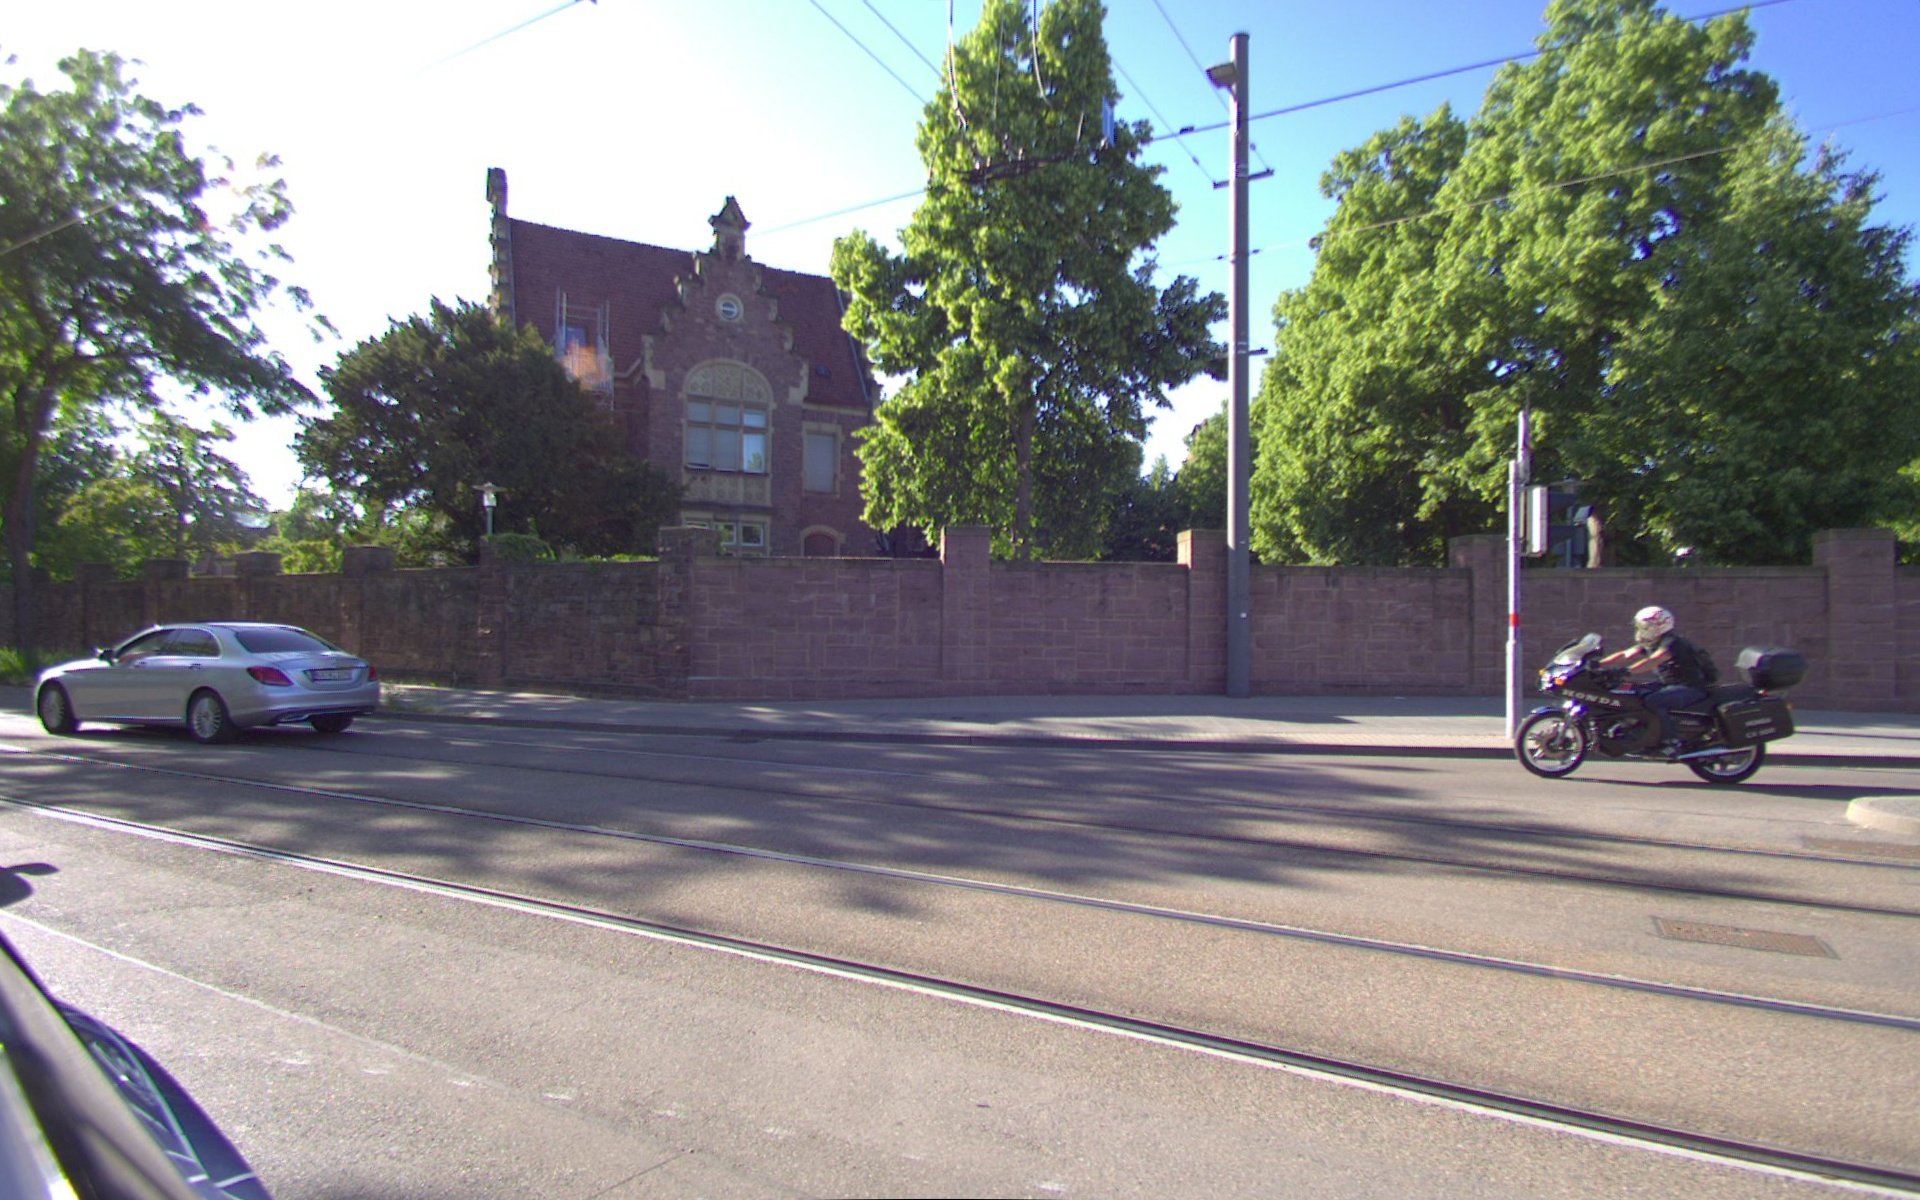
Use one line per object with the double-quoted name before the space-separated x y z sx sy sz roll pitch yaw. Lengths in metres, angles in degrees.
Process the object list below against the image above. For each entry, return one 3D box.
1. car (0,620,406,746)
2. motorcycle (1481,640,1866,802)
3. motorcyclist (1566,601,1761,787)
"car" -9.737 1.029 13.032 4.584 1.426 1.878 -1 -4 17
"motorcycle" 6.223 1.017 9.045 2.546 1.253 1.130 0 -1 11
"motorcyclist" 6.229 0.783 9.054 1.044 1.536 1.124 0 -1 10
